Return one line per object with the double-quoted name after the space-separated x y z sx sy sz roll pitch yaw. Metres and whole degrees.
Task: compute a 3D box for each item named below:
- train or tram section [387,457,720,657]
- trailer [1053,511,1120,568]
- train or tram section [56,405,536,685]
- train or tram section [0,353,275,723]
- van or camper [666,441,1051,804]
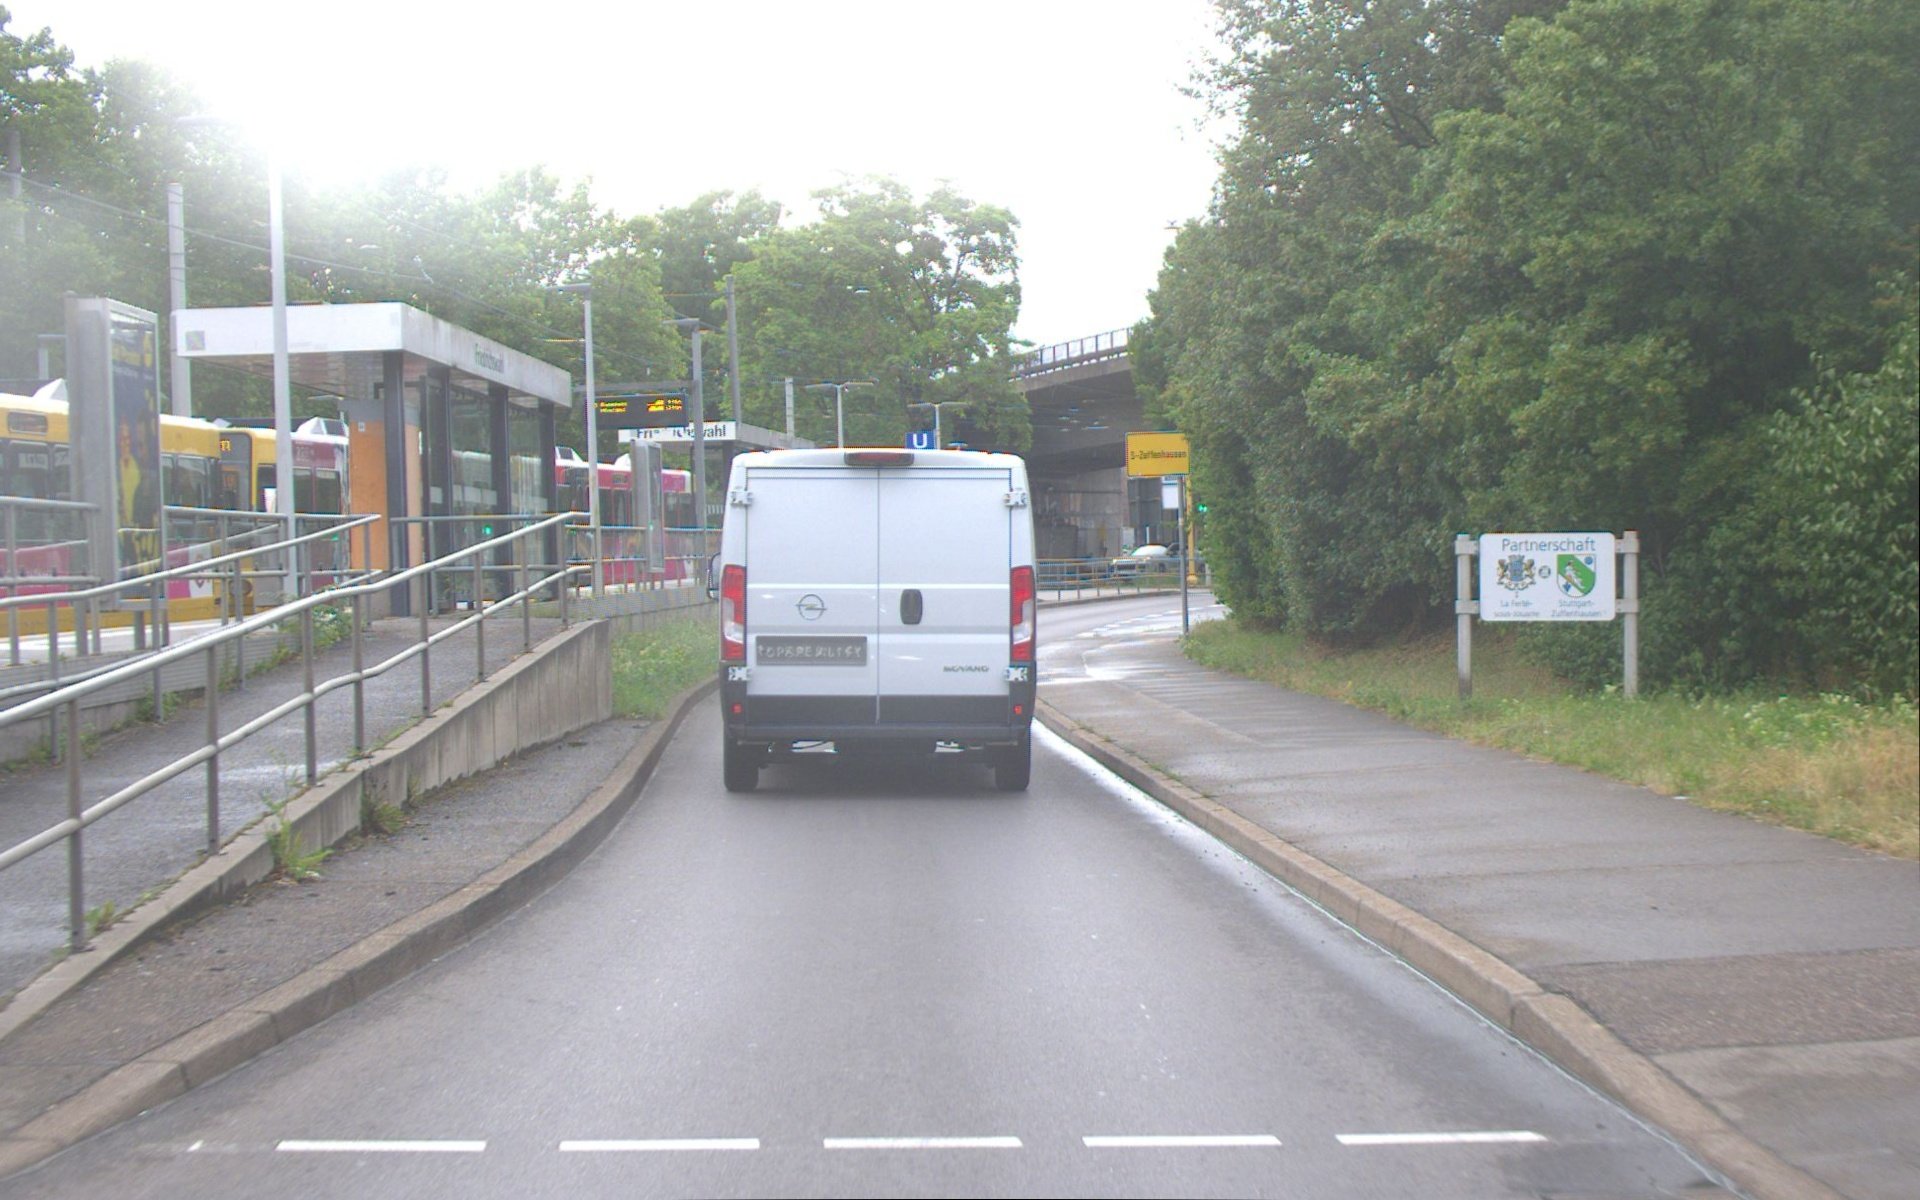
-8.778 -0.882 78.148 2.869 3.947 19.325 1 0 7 "train or tram section"
6.206 -2.928 168.465 1.993 2.716 4.124 0 0 -18 "trailer"
-10.705 -0.823 58.826 2.868 3.957 19.327 1 0 5 "train or tram section"
-11.569 -0.695 39.525 2.868 3.940 19.330 1 0 2 "train or tram section"
-0.829 0.133 23.921 2.198 2.245 4.685 1 0 -7 "van or camper"
